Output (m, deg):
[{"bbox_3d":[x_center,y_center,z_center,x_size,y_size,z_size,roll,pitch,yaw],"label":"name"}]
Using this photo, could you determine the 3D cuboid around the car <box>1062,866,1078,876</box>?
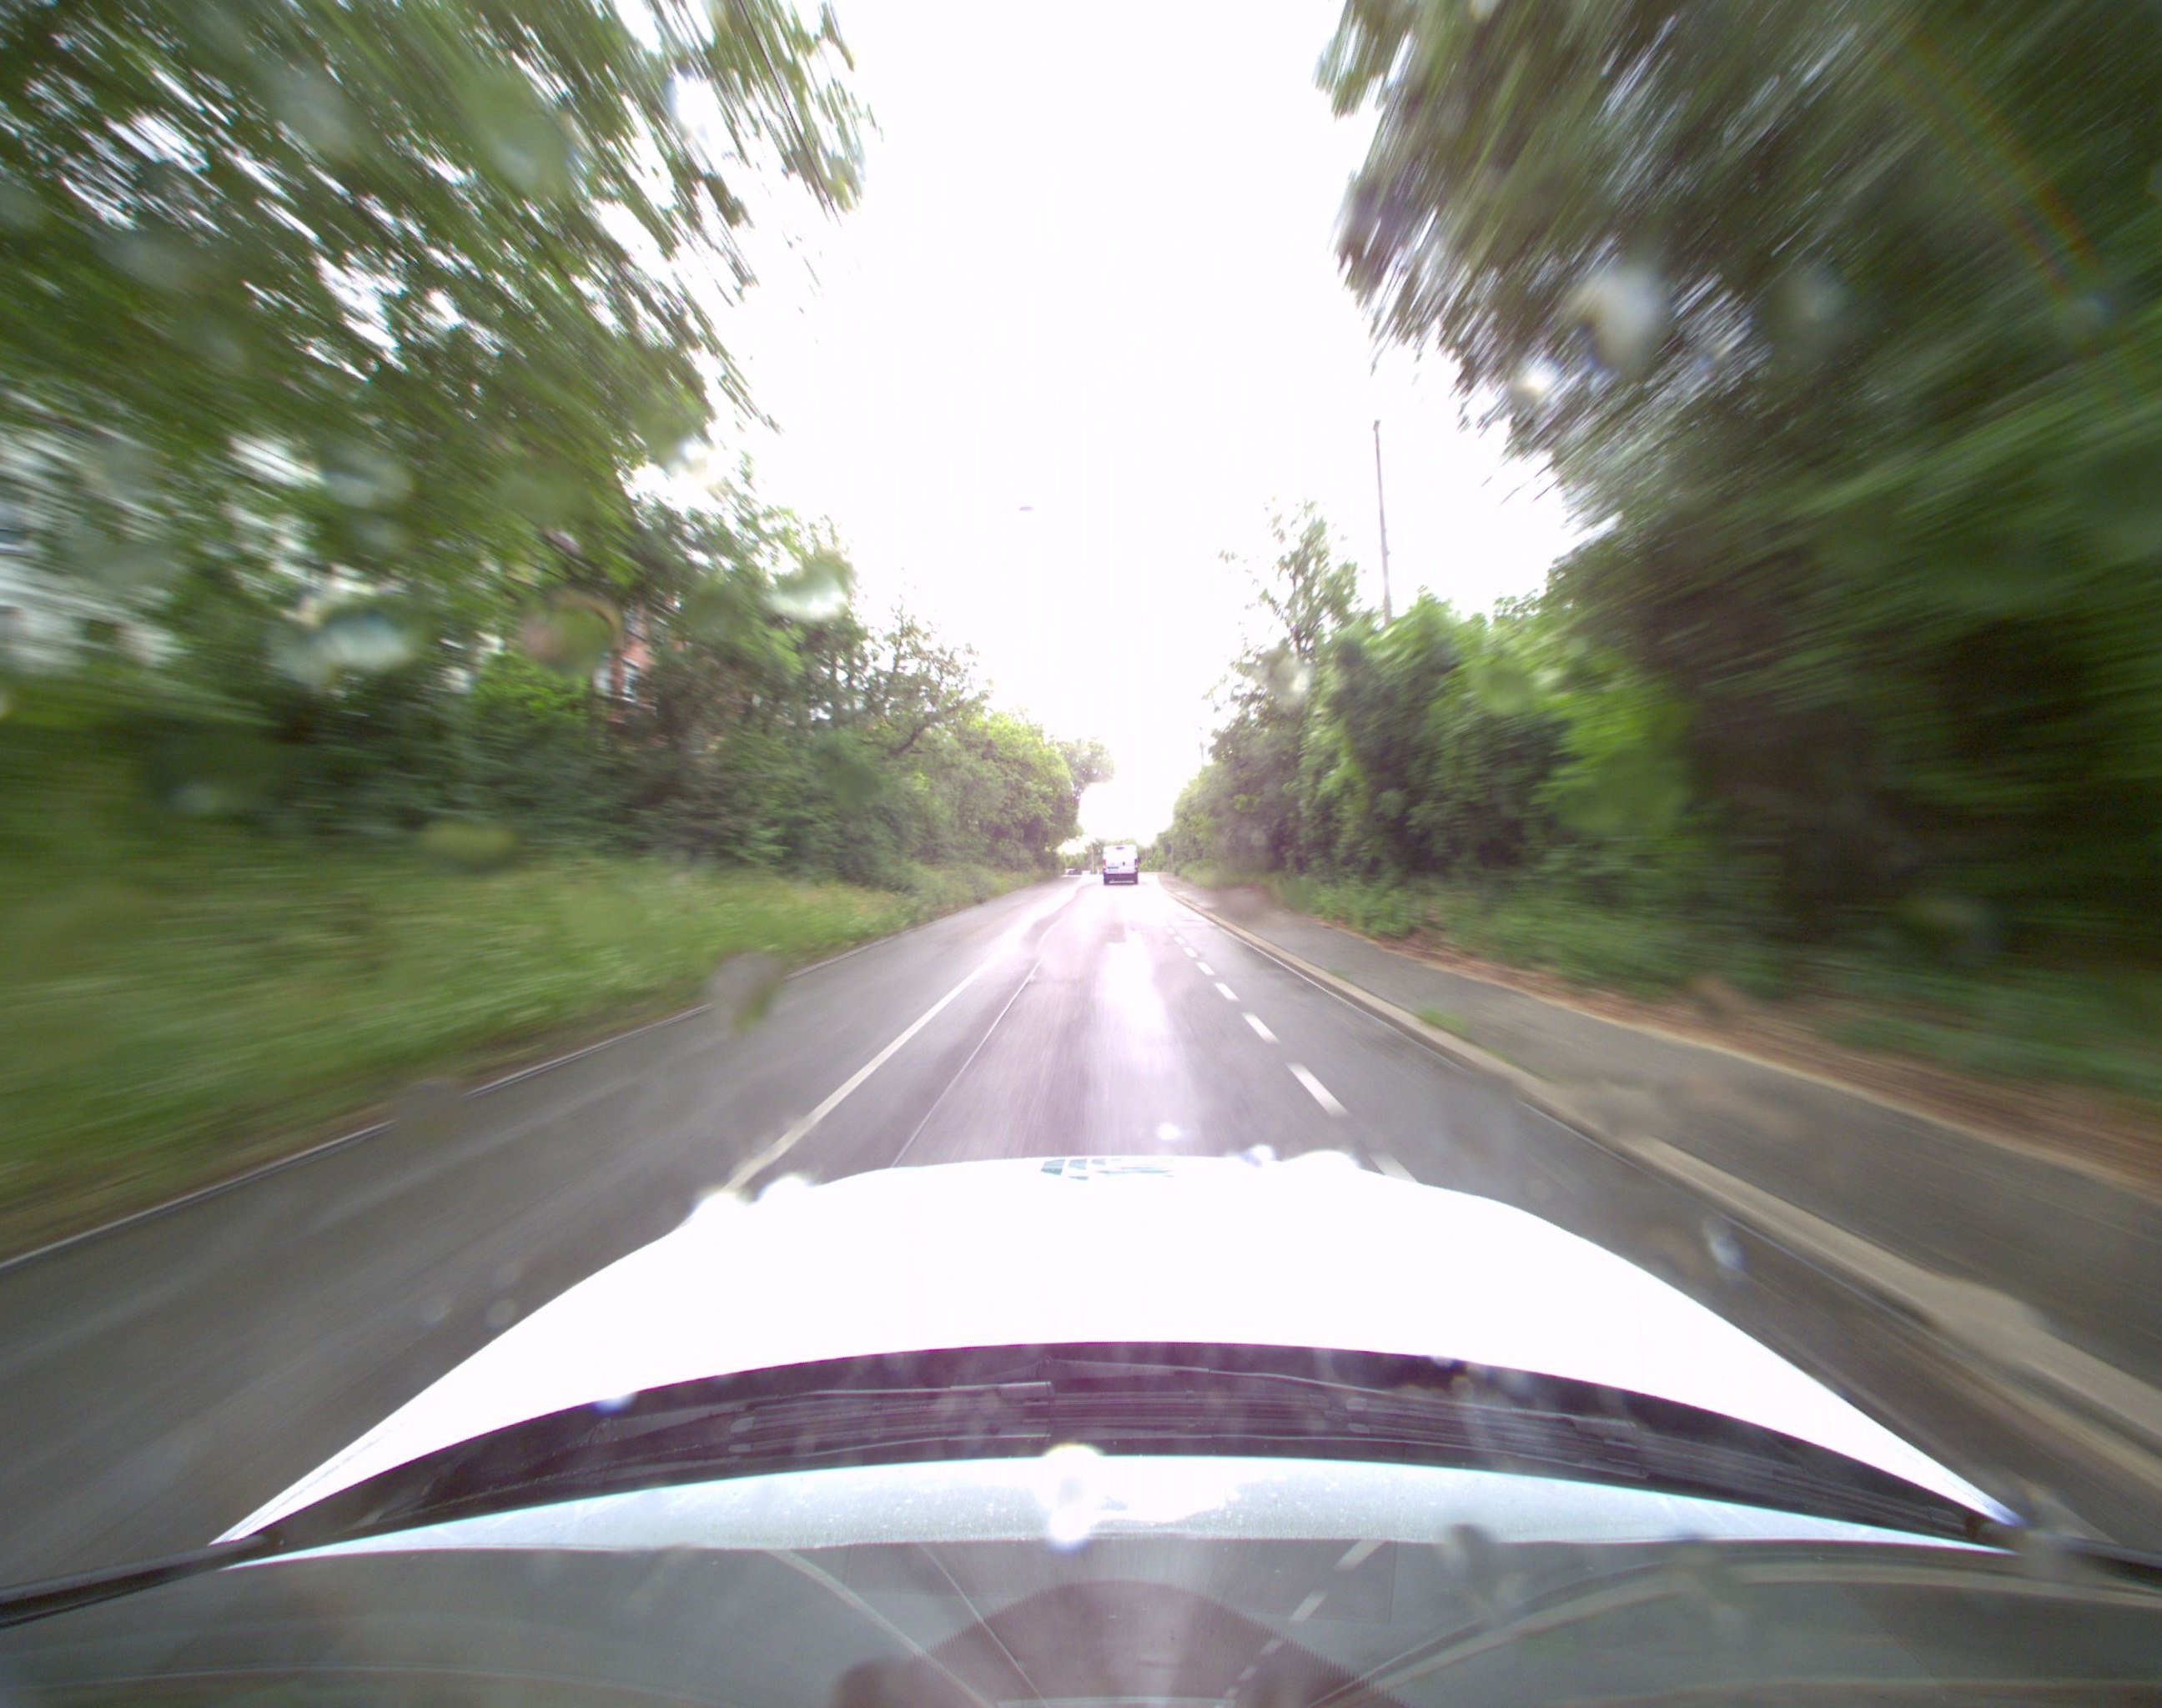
[{"bbox_3d":[-2.127,3.232,156.301,2.112,1.711,4.695,0,-1,-11],"label":"car"}]

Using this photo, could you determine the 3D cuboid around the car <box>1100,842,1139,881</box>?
[{"bbox_3d":[2.278,0.447,49.238,2.229,2.213,4.715,0,-1,2],"label":"car"}]
